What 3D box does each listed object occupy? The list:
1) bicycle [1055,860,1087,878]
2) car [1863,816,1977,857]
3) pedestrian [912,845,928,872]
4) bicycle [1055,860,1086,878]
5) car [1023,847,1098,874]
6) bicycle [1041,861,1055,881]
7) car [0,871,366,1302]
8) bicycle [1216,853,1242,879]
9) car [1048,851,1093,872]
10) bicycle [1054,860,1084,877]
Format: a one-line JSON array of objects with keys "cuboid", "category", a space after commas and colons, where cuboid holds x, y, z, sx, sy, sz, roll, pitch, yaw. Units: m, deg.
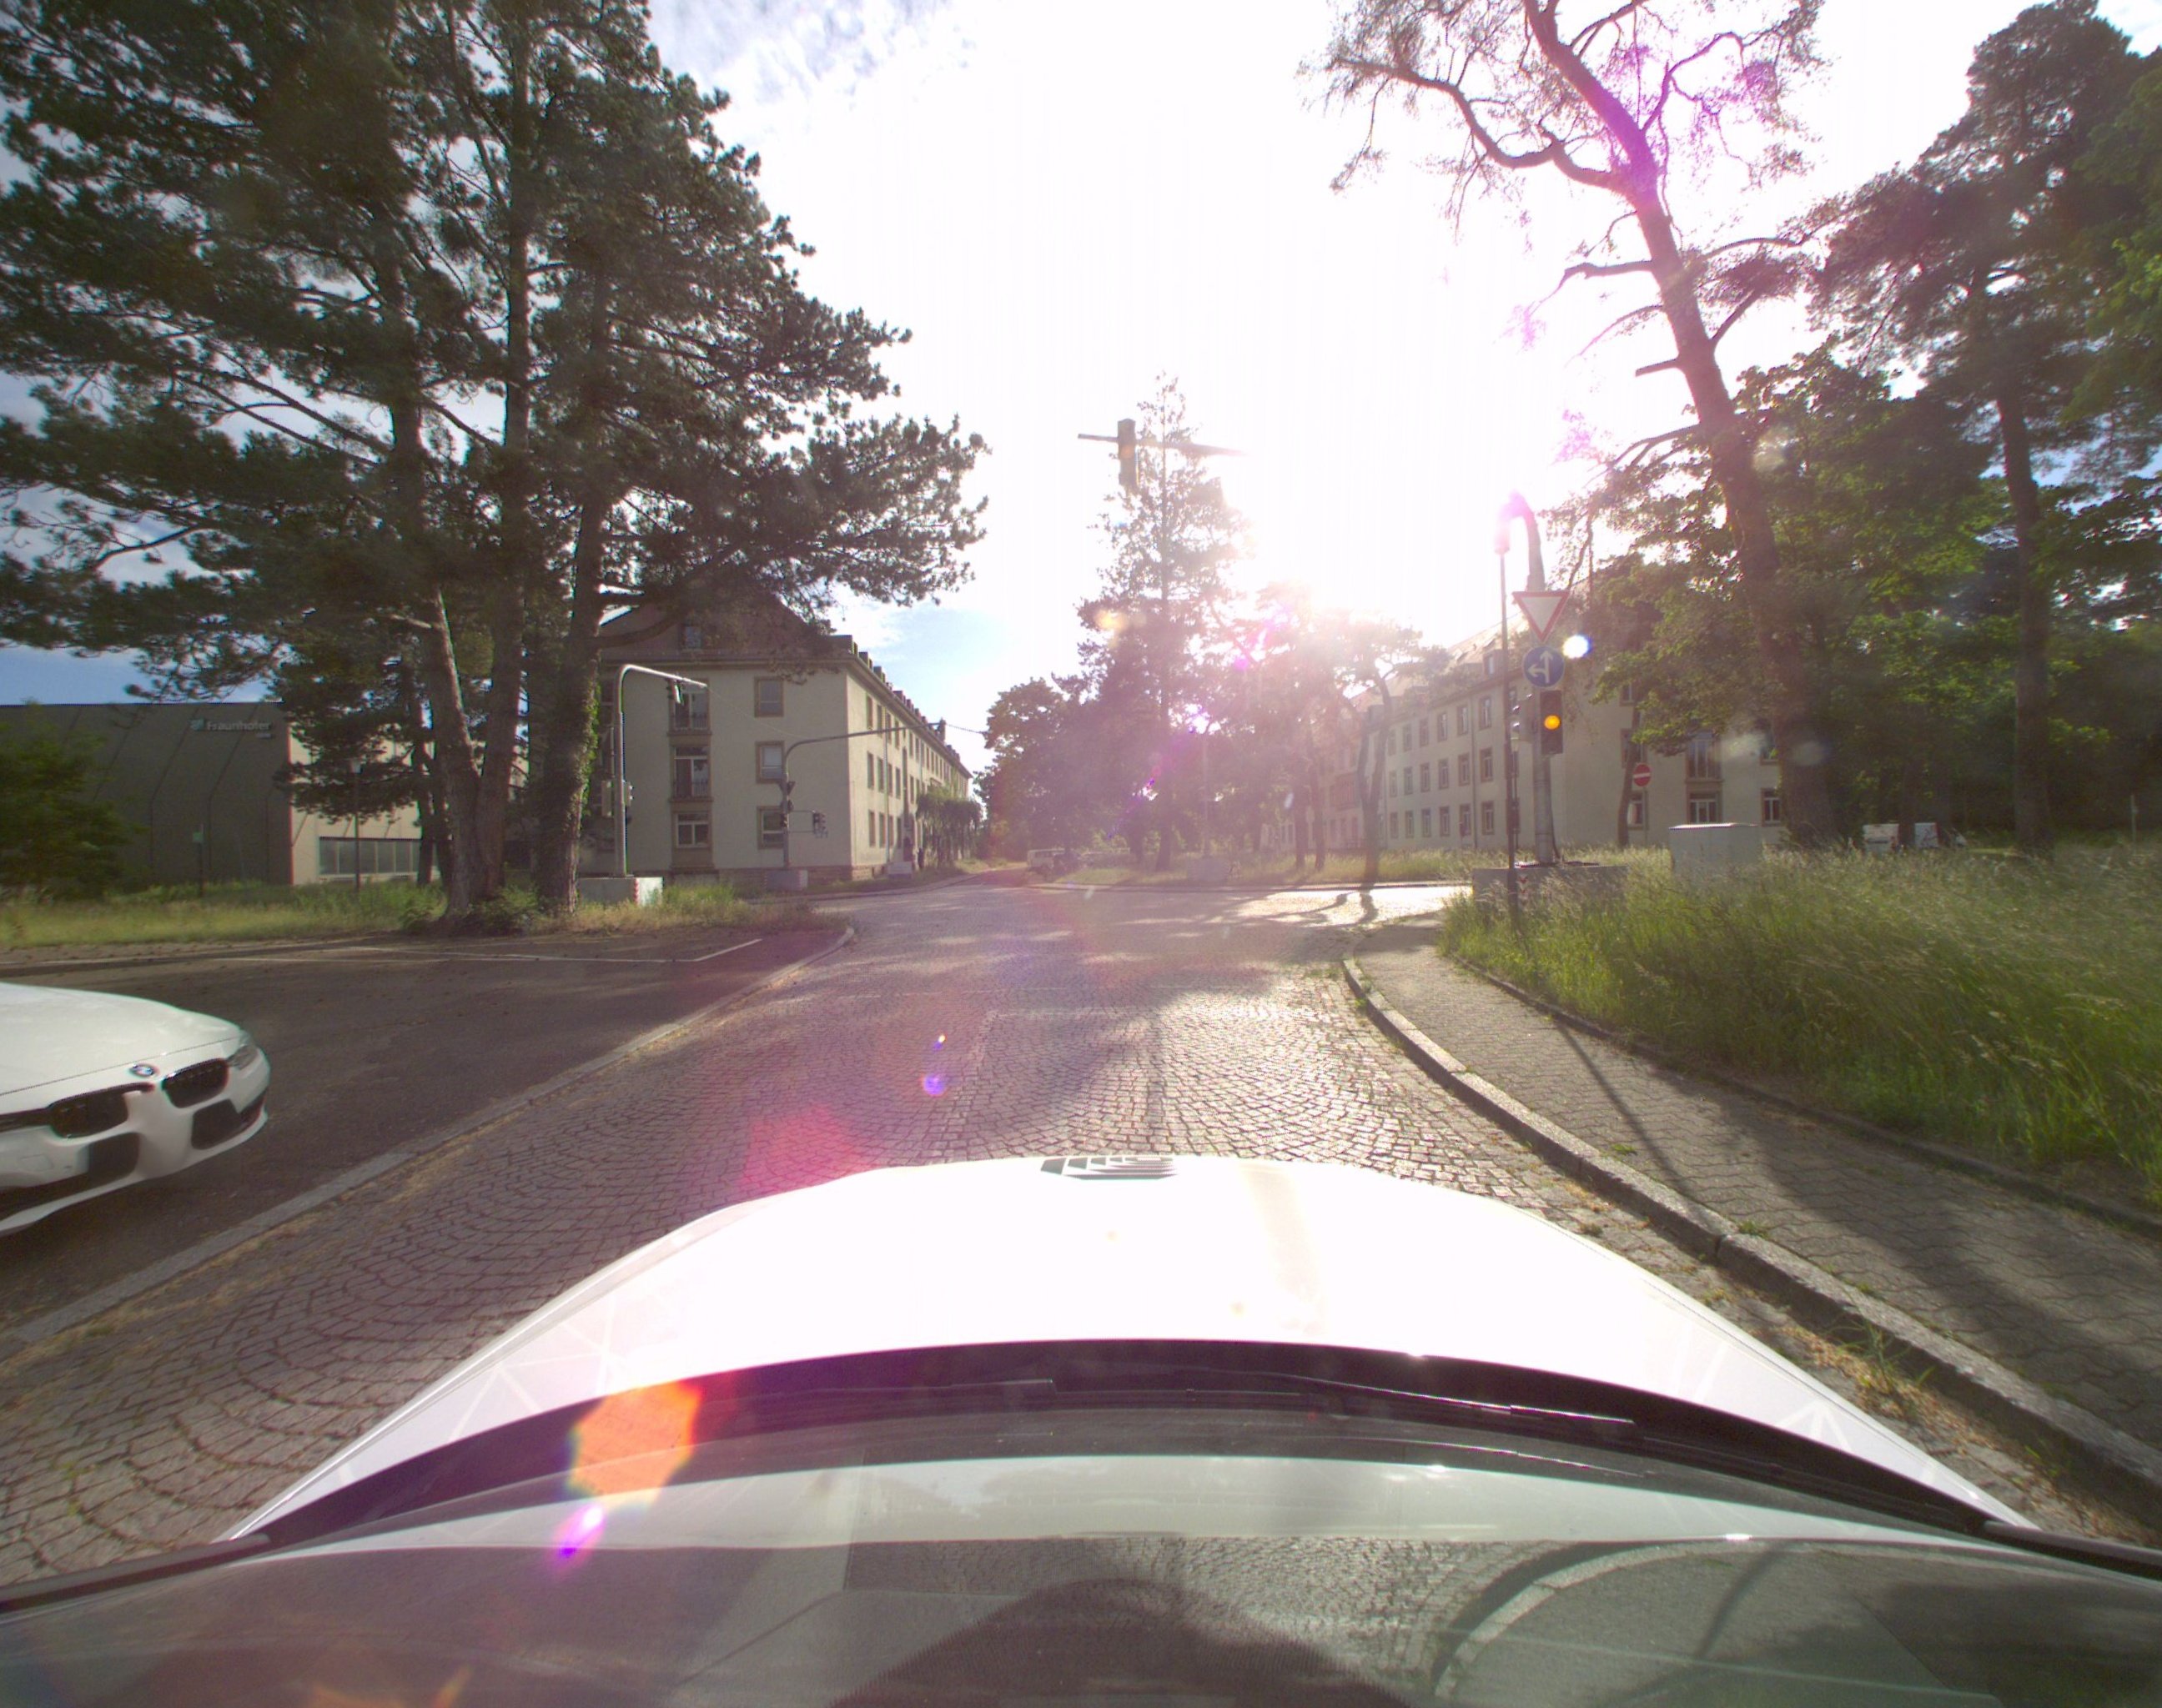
[{"cuboid": [-0.588, 0.874, 47.847, 1.789, 0.999, 0.643, -2, 1, -4], "category": "bicycle"}, {"cuboid": [54.504, -1.105, 52.989, 5.144, 2.536, 2.263, -1, -1, -2], "category": "car"}, {"cuboid": [-11.803, 0.337, 59.568, 0.983, 1.963, 0.931, -1, -1, -4], "category": "pedestrian"}, {"cuboid": [-0.635, 0.885, 48.865, 1.789, 0.999, 0.643, -2, 1, -4], "category": "bicycle"}, {"cuboid": [-1.614, 0.513, 63.736, 5.514, 1.916, 2.241, -1, -1, -17], "category": "car"}, {"cuboid": [-1.794, 0.908, 44.185, 0.726, 0.999, 1.797, -2, 1, -3], "category": "bicycle"}, {"cuboid": [-6.247, 0.830, 3.419, 4.580, 1.455, 1.900, 1, 1, -6], "category": "car"}, {"cuboid": [6.183, 0.486, 34.055, 0.561, 0.999, 1.748, -2, 1, -7], "category": "bicycle"}, {"cuboid": [-0.786, 0.595, 60.214, 3.038, 1.465, 1.711, -1, -1, -16], "category": "car"}, {"cuboid": [-0.737, 0.898, 50.361, 1.789, 0.999, 0.643, -2, 1, -4], "category": "bicycle"}]
